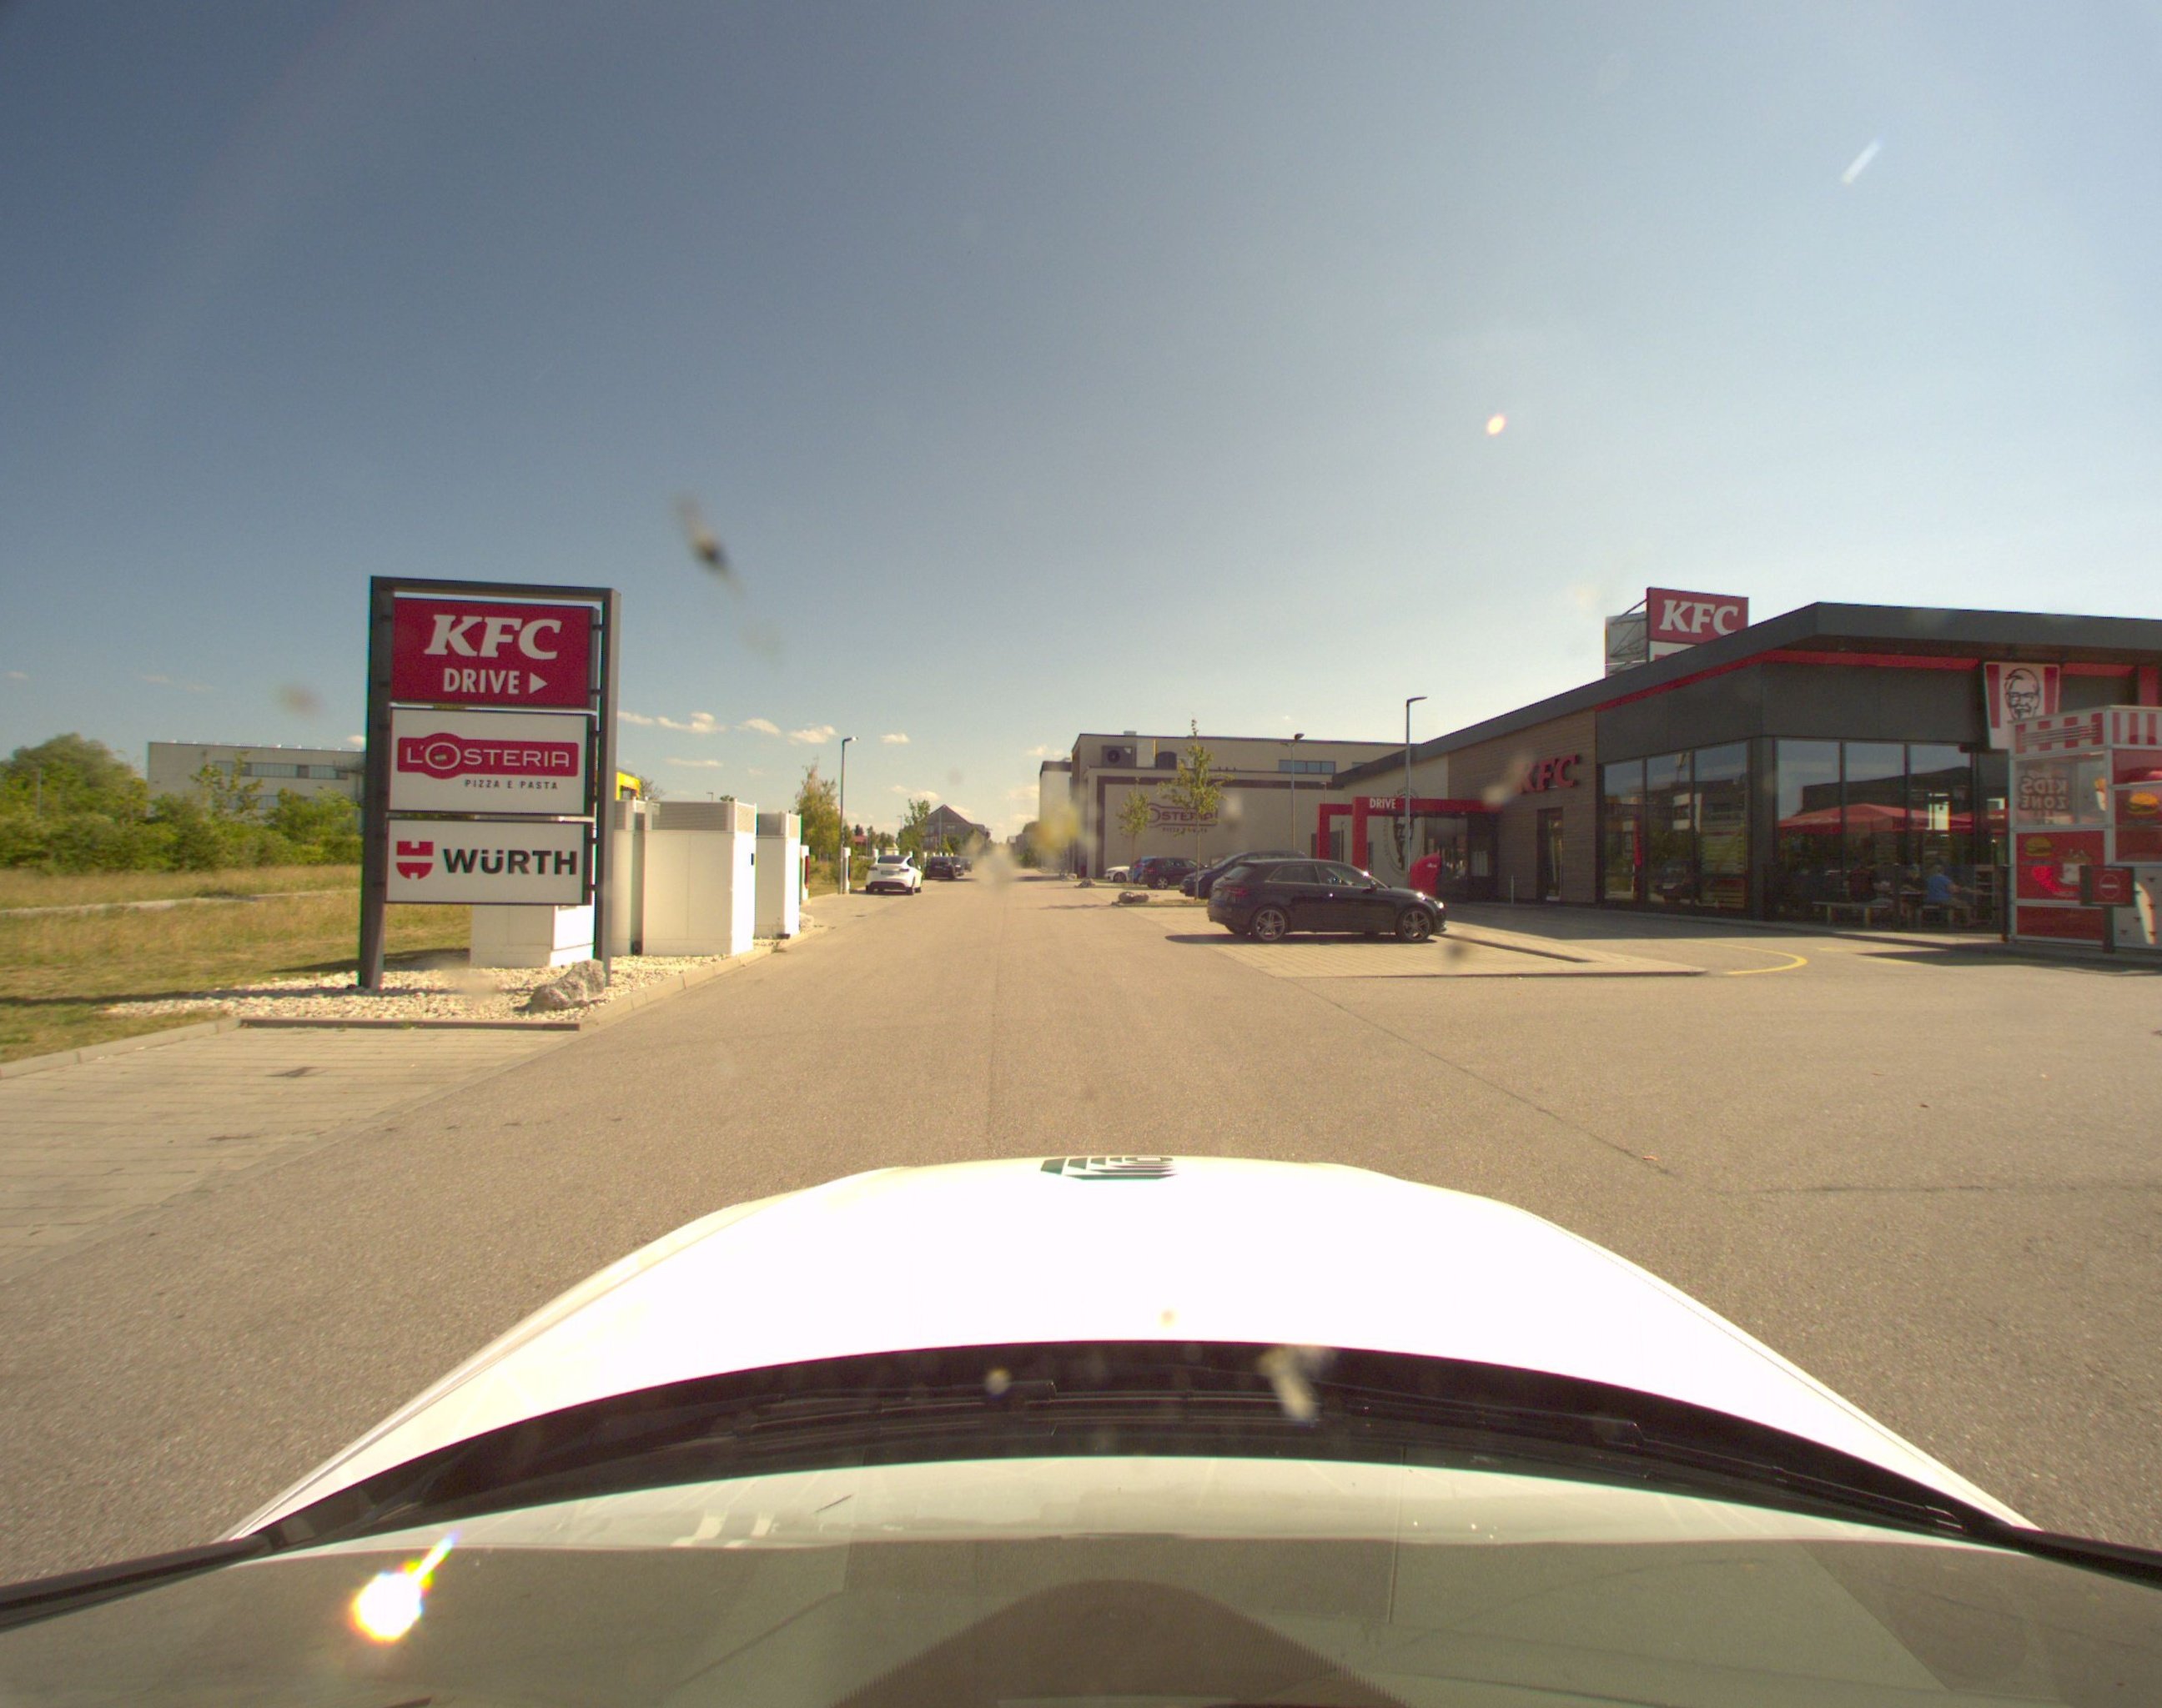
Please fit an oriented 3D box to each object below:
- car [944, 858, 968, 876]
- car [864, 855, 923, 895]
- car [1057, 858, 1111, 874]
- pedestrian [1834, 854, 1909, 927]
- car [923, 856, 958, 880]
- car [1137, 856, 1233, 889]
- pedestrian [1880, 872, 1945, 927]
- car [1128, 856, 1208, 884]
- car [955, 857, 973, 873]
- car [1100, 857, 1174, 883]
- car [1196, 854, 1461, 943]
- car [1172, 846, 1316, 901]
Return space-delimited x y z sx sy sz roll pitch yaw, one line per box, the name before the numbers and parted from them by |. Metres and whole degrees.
car | -10.364 1.070 67.705 1.741 1.387 3.990 1 0 -7
car | -7.885 0.854 34.534 1.942 1.568 3.991 1 0 -6
car | 0.211 0.909 62.410 3.983 1.156 1.995 0 0 -7
pedestrian | 15.962 0.710 16.455 0.797 1.435 0.770 0 0 -8
car | -9.541 0.907 55.705 1.941 1.568 3.994 1 0 -4
car | 4.670 0.836 36.739 3.985 1.420 1.646 1 0 -9
pedestrian | 16.834 0.915 16.488 0.715 1.071 0.627 0 0 -8
car | 4.653 0.828 43.711 3.985 1.420 1.646 1 0 -9
car | -12.113 1.091 84.588 1.741 1.568 3.990 1 0 -7
car | 3.160 0.891 46.255 3.985 1.420 1.646 1 0 -9
car | 4.319 0.758 14.522 4.195 1.441 1.694 1 0 -7
car | 5.347 0.636 26.842 4.371 1.685 1.636 1 0 -11
